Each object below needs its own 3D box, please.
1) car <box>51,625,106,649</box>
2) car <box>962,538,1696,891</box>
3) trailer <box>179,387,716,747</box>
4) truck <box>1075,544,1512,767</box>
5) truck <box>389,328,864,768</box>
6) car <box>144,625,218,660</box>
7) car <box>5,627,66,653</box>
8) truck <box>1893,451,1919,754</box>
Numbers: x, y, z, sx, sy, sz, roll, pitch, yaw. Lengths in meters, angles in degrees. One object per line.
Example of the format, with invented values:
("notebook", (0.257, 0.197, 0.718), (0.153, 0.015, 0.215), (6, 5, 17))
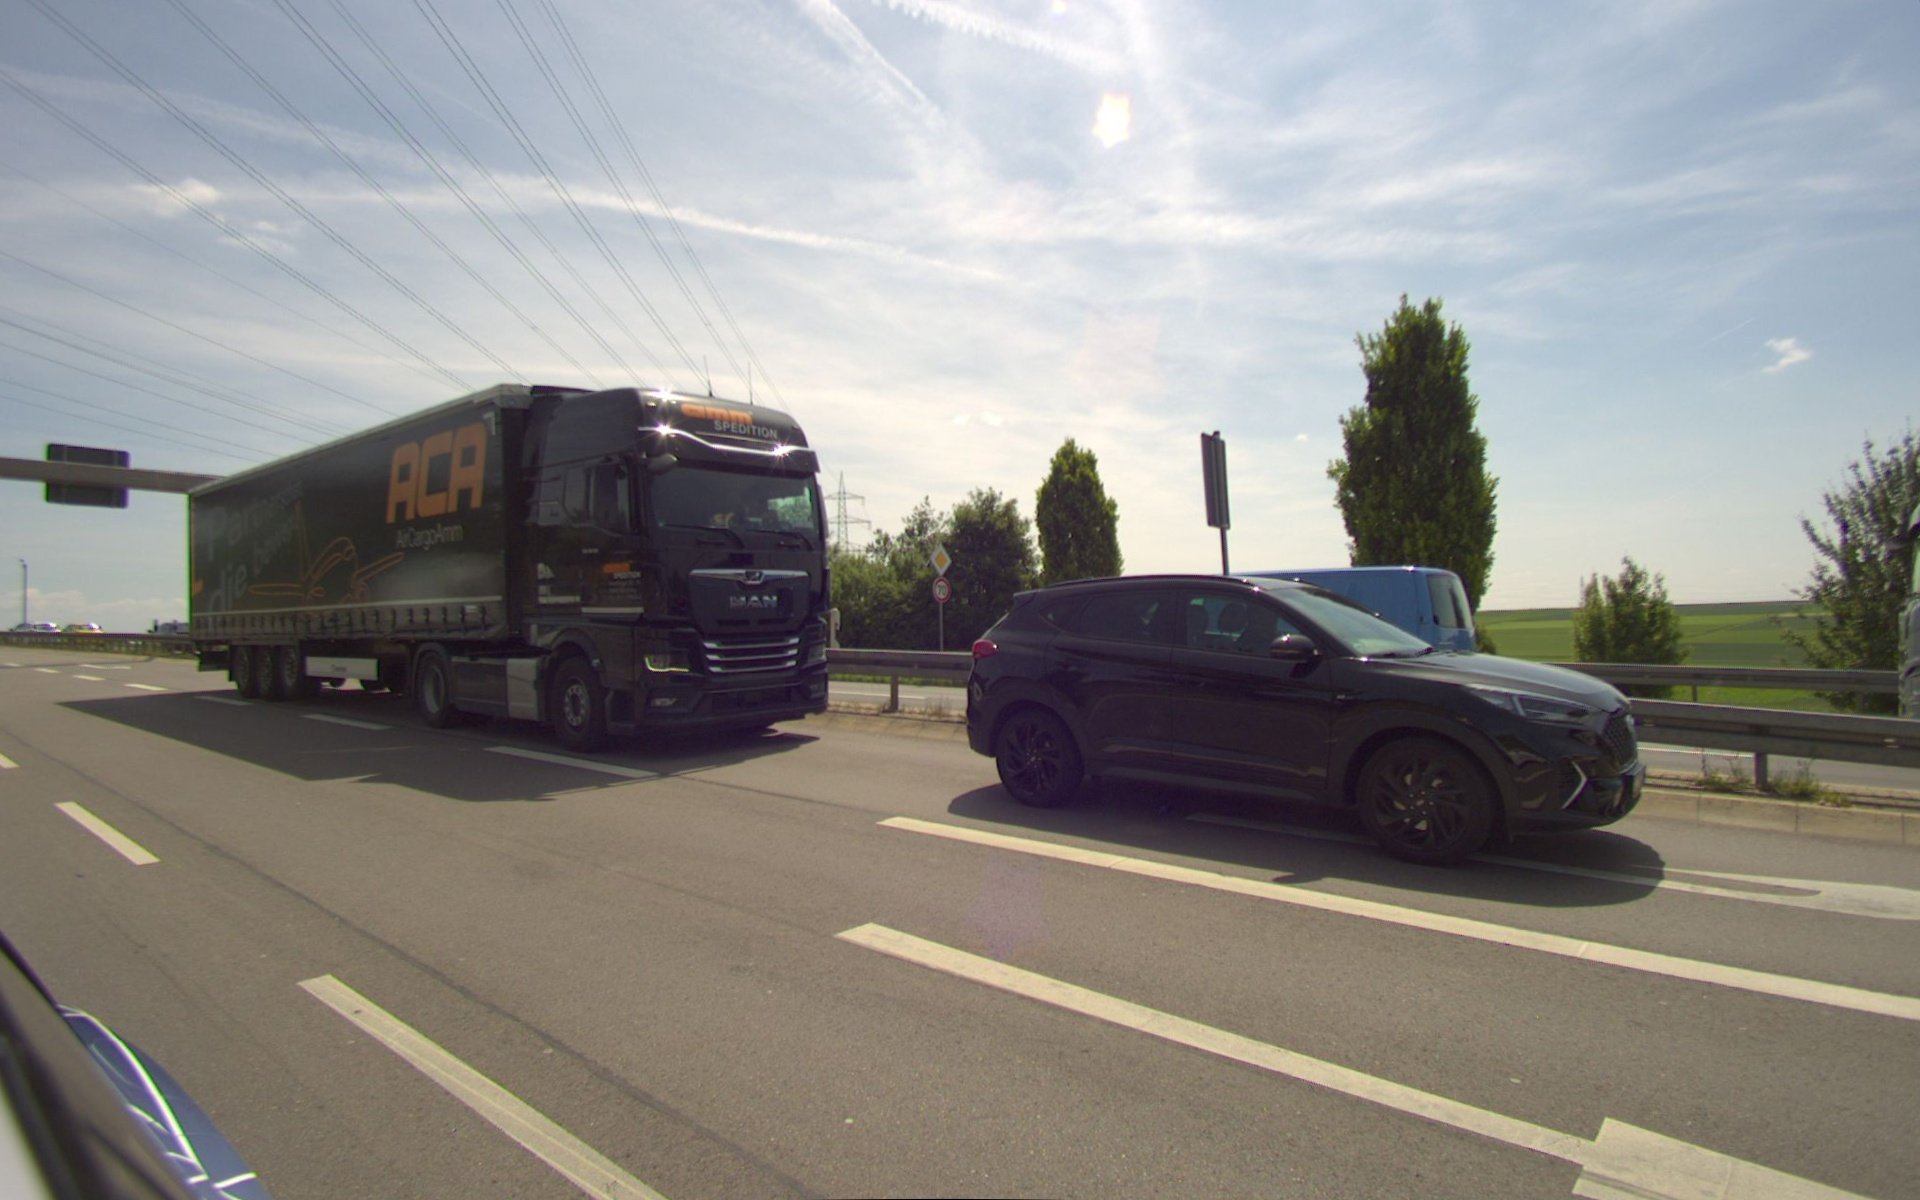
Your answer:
("car", (-56.007, 2.341, 64.305), (3.690, 1.492, 1.502), (-1, -3, 31))
("car", (2.248, 0.576, 6.933), (4.347, 1.670, 1.836), (-1, -1, 42))
("trailer", (-9.331, -0.267, 16.623), (13.777, 3.943, 2.755), (-1, 0, 40))
("truck", (3.817, 0.574, 12.179), (4.624, 2.173, 1.944), (-1, -2, 44))
("truck", (-4.259, -0.445, 12.298), (5.966, 4.044, 2.755), (-1, -1, 40))
("car", (-35.958, 1.958, 46.683), (4.320, 1.516, 1.719), (-1, -3, 39))
("car", (-54.532, 2.353, 59.656), (4.315, 1.454, 1.721), (-1, -3, 35))
("truck", (12.667, 0.014, 9.250), (5.988, 3.036, 2.770), (-1, -1, 42))
